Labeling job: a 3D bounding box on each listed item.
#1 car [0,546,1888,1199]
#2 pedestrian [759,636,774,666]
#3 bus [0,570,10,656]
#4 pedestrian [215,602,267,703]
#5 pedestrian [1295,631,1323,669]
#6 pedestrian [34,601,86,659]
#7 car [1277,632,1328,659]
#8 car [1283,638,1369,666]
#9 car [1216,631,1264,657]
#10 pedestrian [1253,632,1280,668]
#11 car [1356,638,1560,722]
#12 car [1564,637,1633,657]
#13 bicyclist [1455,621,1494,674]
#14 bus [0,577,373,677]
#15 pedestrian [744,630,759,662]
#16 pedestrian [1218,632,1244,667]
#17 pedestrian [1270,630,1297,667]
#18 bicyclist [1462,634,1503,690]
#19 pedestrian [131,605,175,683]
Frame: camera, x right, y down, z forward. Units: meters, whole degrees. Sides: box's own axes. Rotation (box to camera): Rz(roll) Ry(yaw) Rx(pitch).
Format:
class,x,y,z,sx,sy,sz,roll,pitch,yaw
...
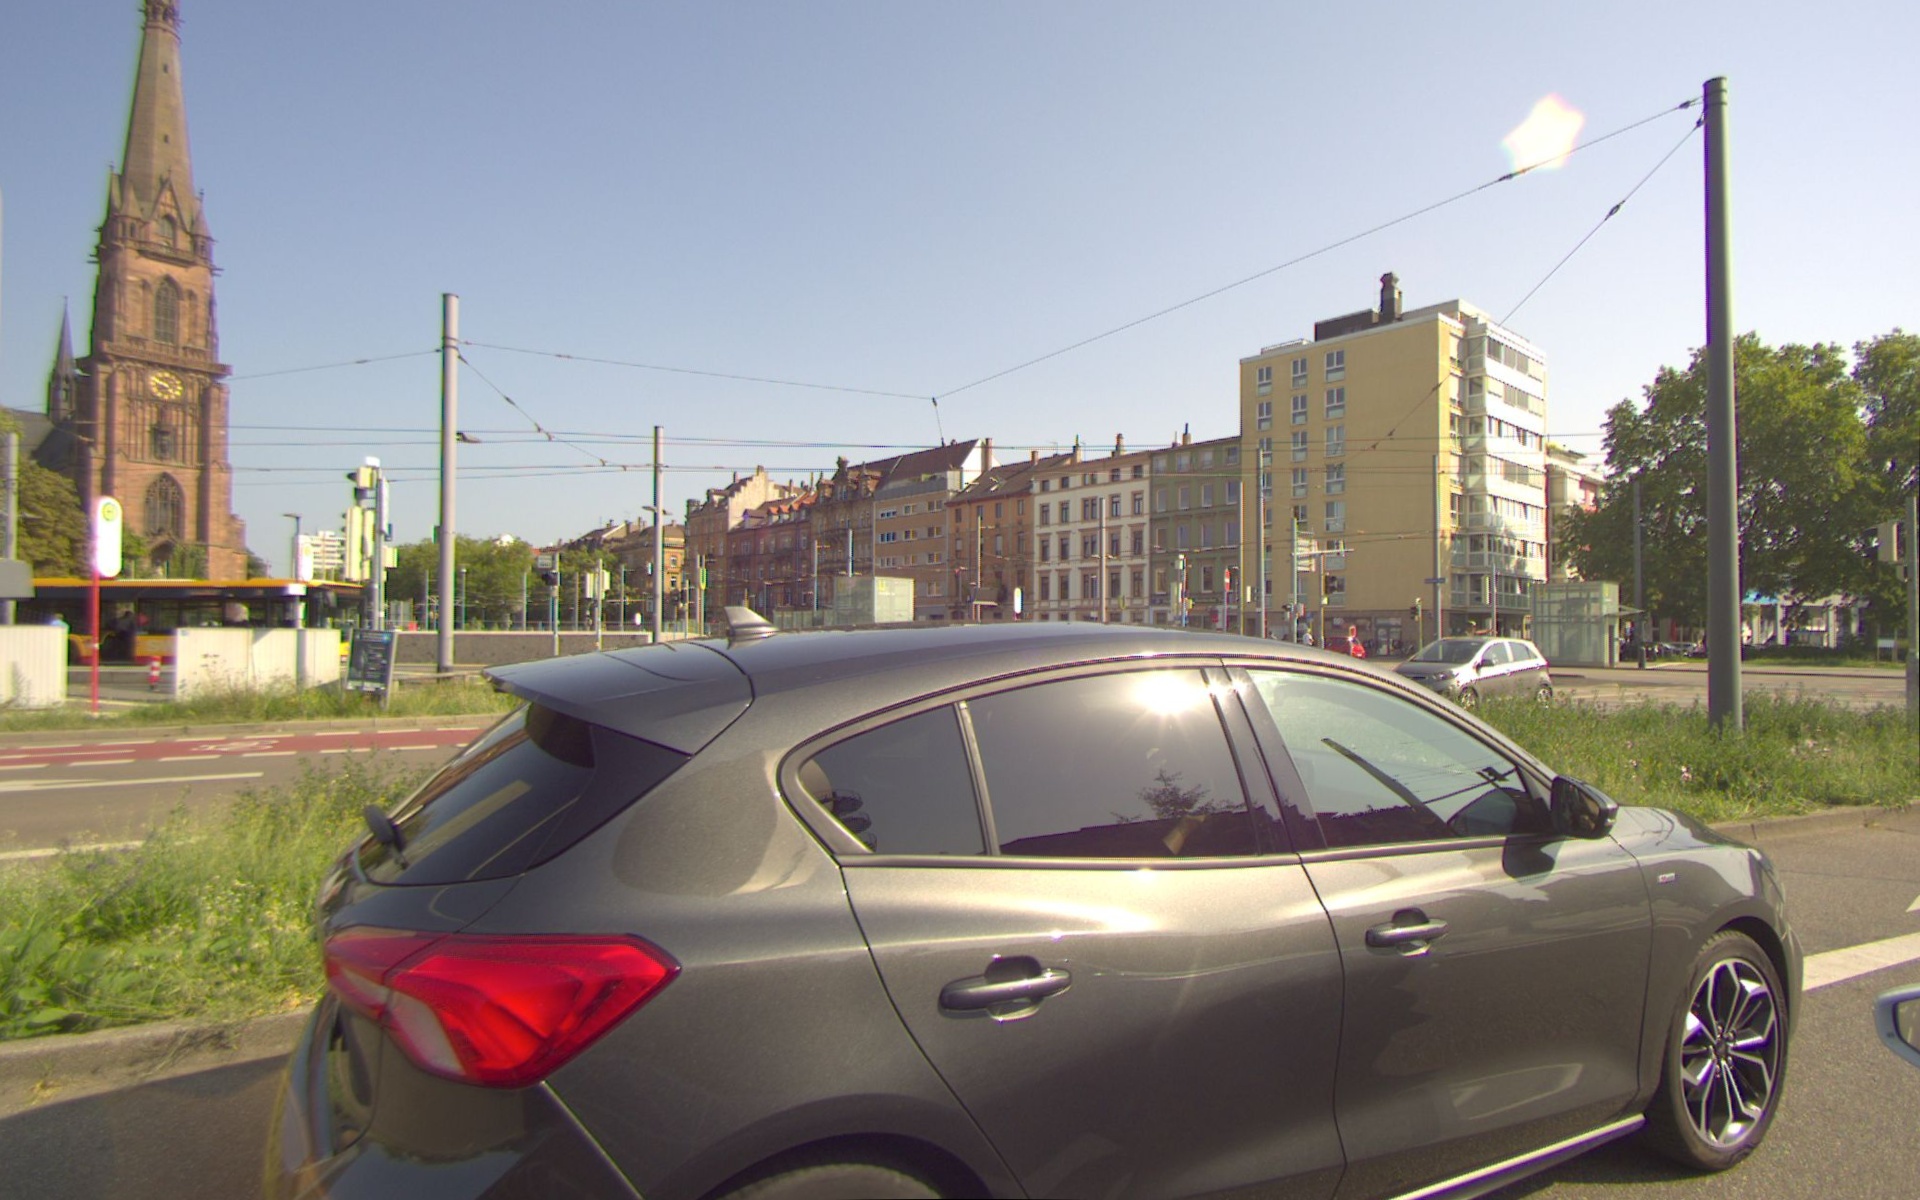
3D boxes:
class,x,y,z,sx,sy,sz,roll,pitch,yaw
car,0.409,0.739,2.781,4.493,1.454,1.825,2,-2,-28
pedestrian,-11.718,3.076,60.803,0.743,1.806,0.702,1,-2,-28
bus,-39.887,0.367,34.047,12.540,3.017,3.301,0,-2,3
pedestrian,-13.347,0.965,18.671,0.693,1.824,0.773,1,-2,-33
pedestrian,16.343,2.333,47.048,0.916,1.712,0.913,2,-2,-42
pedestrian,-27.801,0.932,31.038,0.819,1.761,0.831,0,-2,4
car,22.026,2.903,64.775,1.960,1.700,4.553,1,-2,4
car,21.268,3.015,58.446,1.819,1.555,4.354,2,-3,-44
car,19.126,2.970,68.789,1.961,1.700,4.551,1,-2,0
pedestrian,15.018,2.427,49.196,0.916,1.712,0.913,2,-2,-42
car,9.694,1.490,19.538,3.632,1.471,1.880,1,-2,-30
car,47.739,3.489,75.164,1.567,1.372,4.117,2,-2,-43
bicyclist,15.193,1.394,29.681,0.719,1.547,0.789,1,-2,-36
bus,-26.406,0.894,33.704,11.970,3.149,2.718,0,-2,3
pedestrian,-12.531,2.759,60.365,0.645,1.891,0.716,1,-2,-28
pedestrian,13.410,2.433,49.662,0.916,1.712,0.913,2,-2,-42
pedestrian,15.509,2.328,48.203,0.916,1.712,0.913,2,-2,-42
bicyclist,15.935,1.876,30.654,0.719,1.674,0.875,1,-2,-36
pedestrian,-19.133,1.043,23.824,0.693,1.824,0.773,1,-2,-33
